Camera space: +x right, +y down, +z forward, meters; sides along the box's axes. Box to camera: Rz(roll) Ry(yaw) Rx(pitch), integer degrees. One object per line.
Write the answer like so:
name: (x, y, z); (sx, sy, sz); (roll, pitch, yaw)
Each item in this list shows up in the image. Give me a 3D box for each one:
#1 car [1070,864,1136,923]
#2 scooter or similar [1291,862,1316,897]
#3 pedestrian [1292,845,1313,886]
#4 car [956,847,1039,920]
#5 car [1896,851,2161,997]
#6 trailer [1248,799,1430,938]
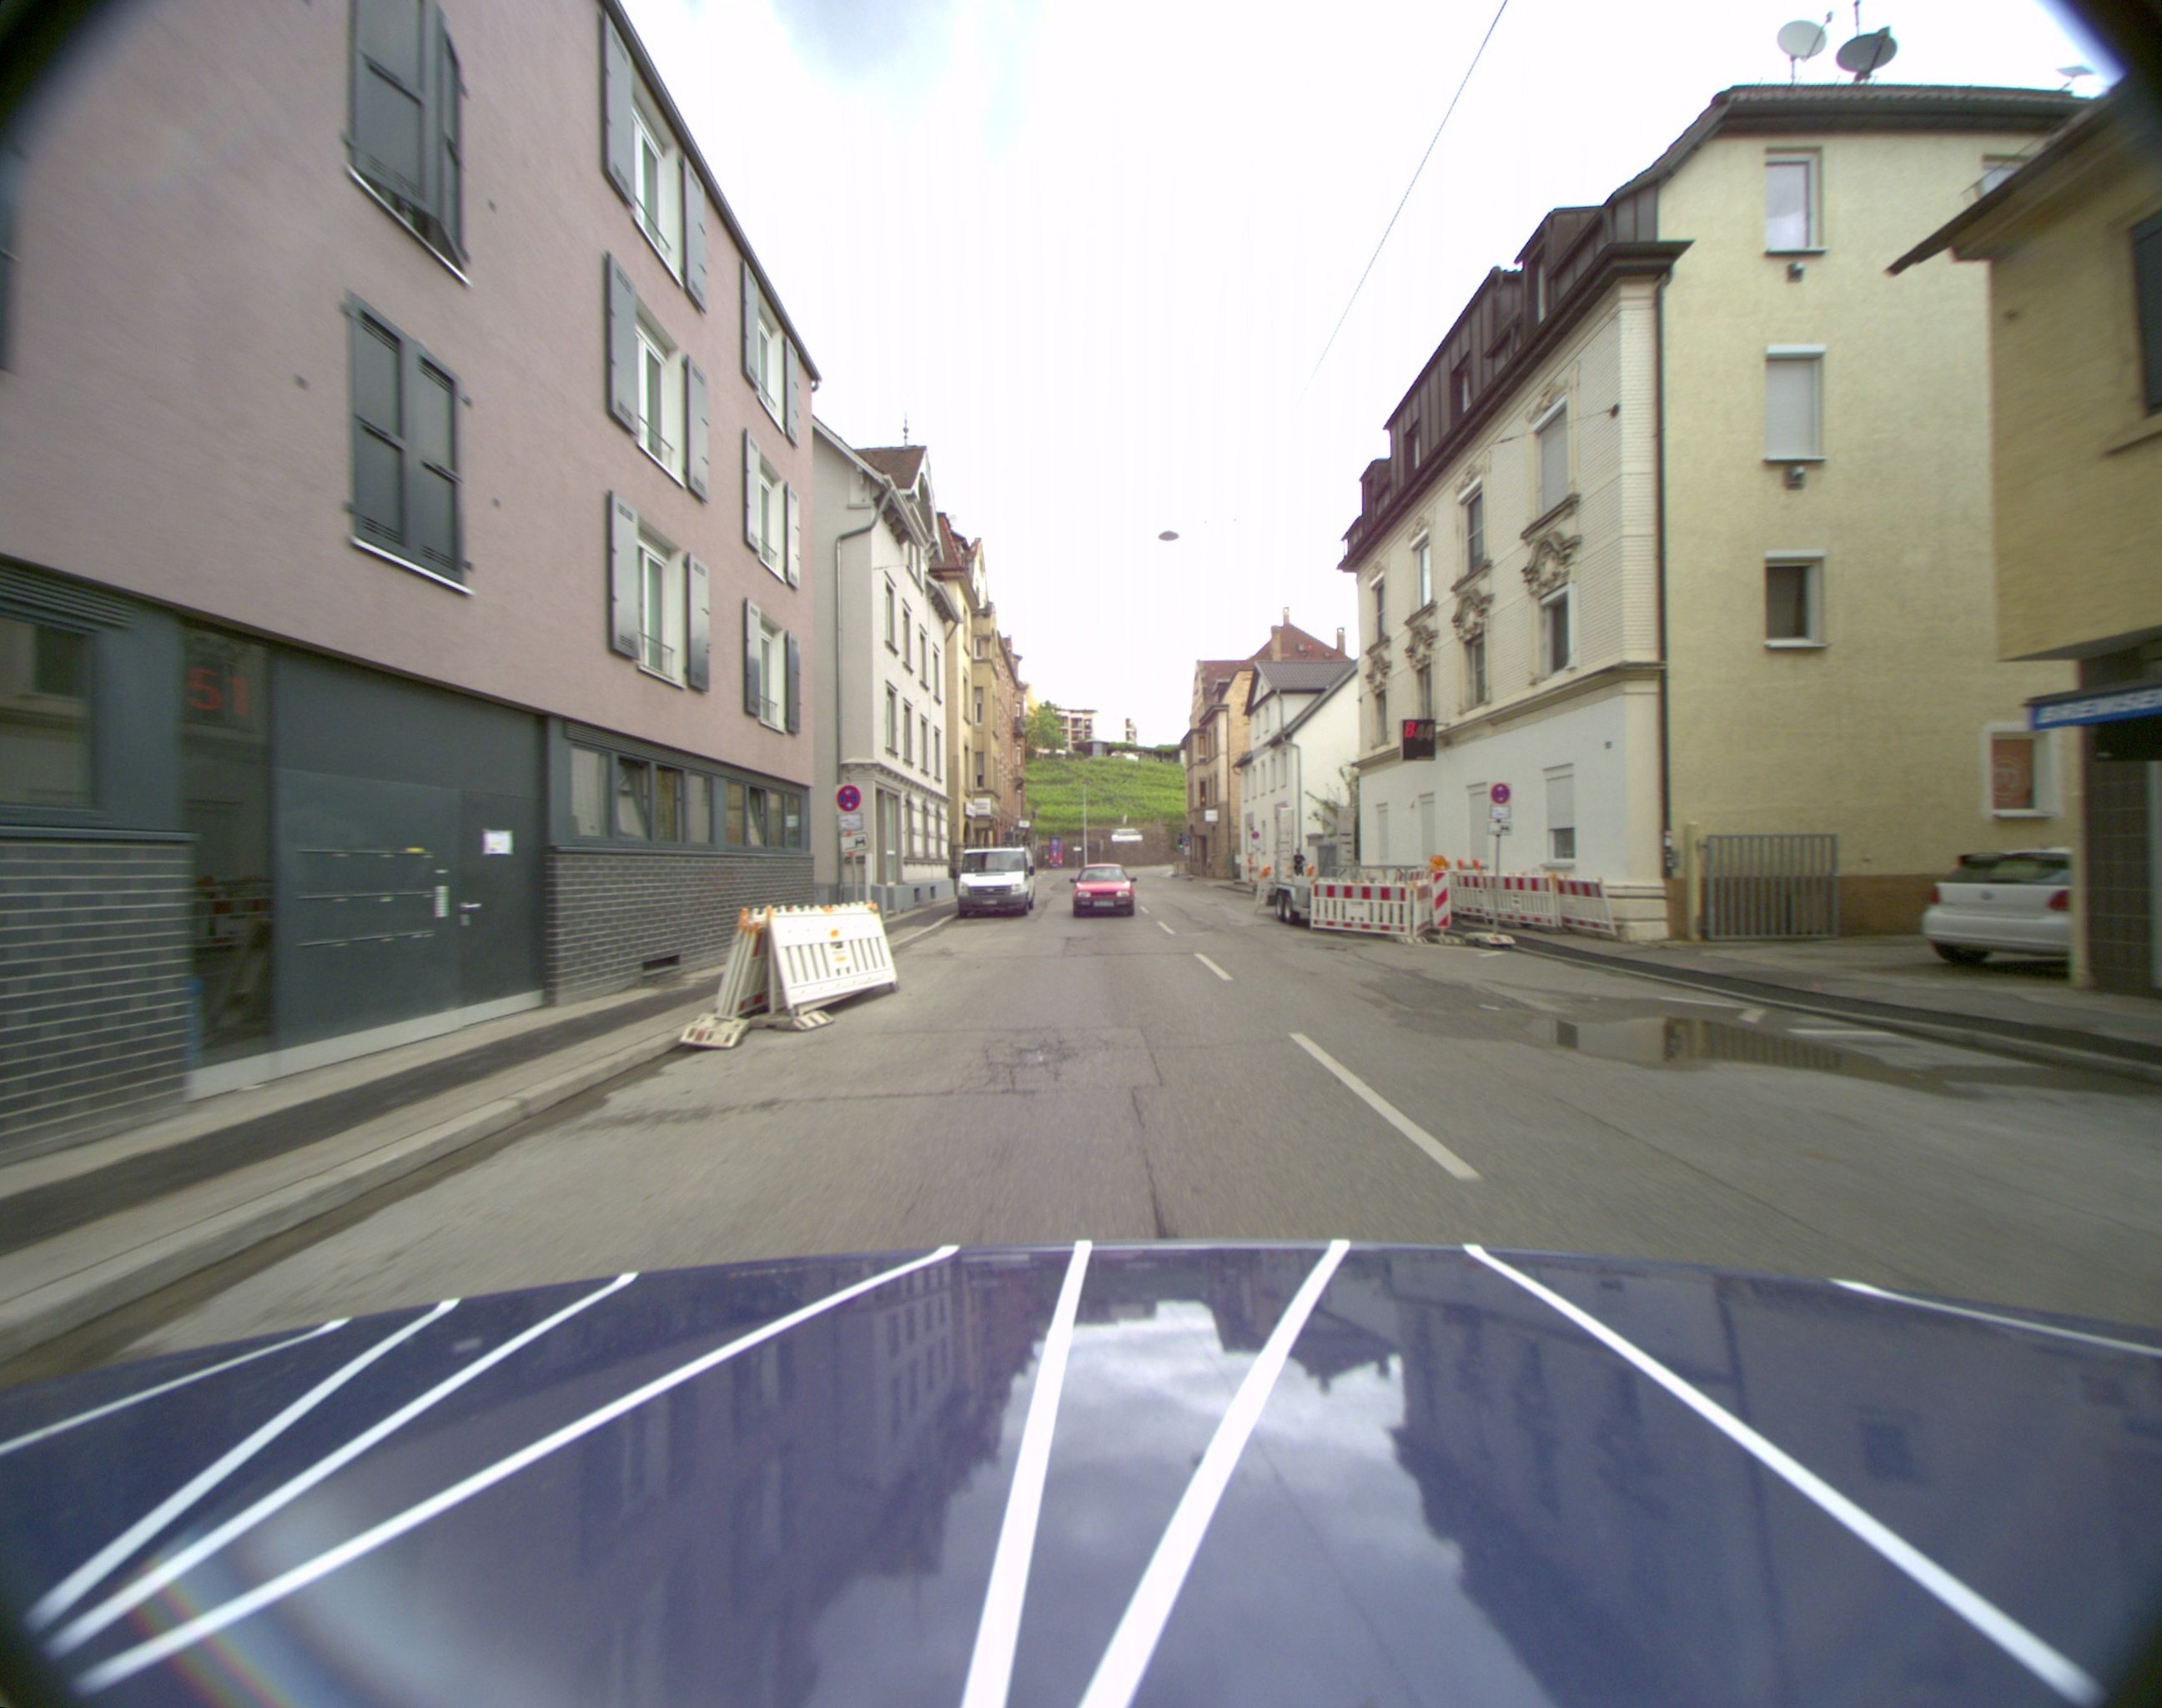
car: (0.613, 1.018, 20.896); (1.626, 1.387, 4.000); (-1, 0, 2)
scooter or similar: (8.570, 0.980, 29.252); (0.561, 1.283, 1.227); (-2, 1, 0)
pedestrian: (8.543, 0.429, 29.264); (0.602, 1.557, 0.607); (-2, 1, 2)
car: (-2.403, 0.798, 23.060); (1.999, 1.970, 4.877); (-1, 0, -1)
car: (12.431, 0.724, 8.927); (3.998, 1.477, 1.725); (-1, 0, -3)
trailer: (5.920, 0.288, 18.554); (2.450, 2.788, 6.303); (0, 0, 2)
